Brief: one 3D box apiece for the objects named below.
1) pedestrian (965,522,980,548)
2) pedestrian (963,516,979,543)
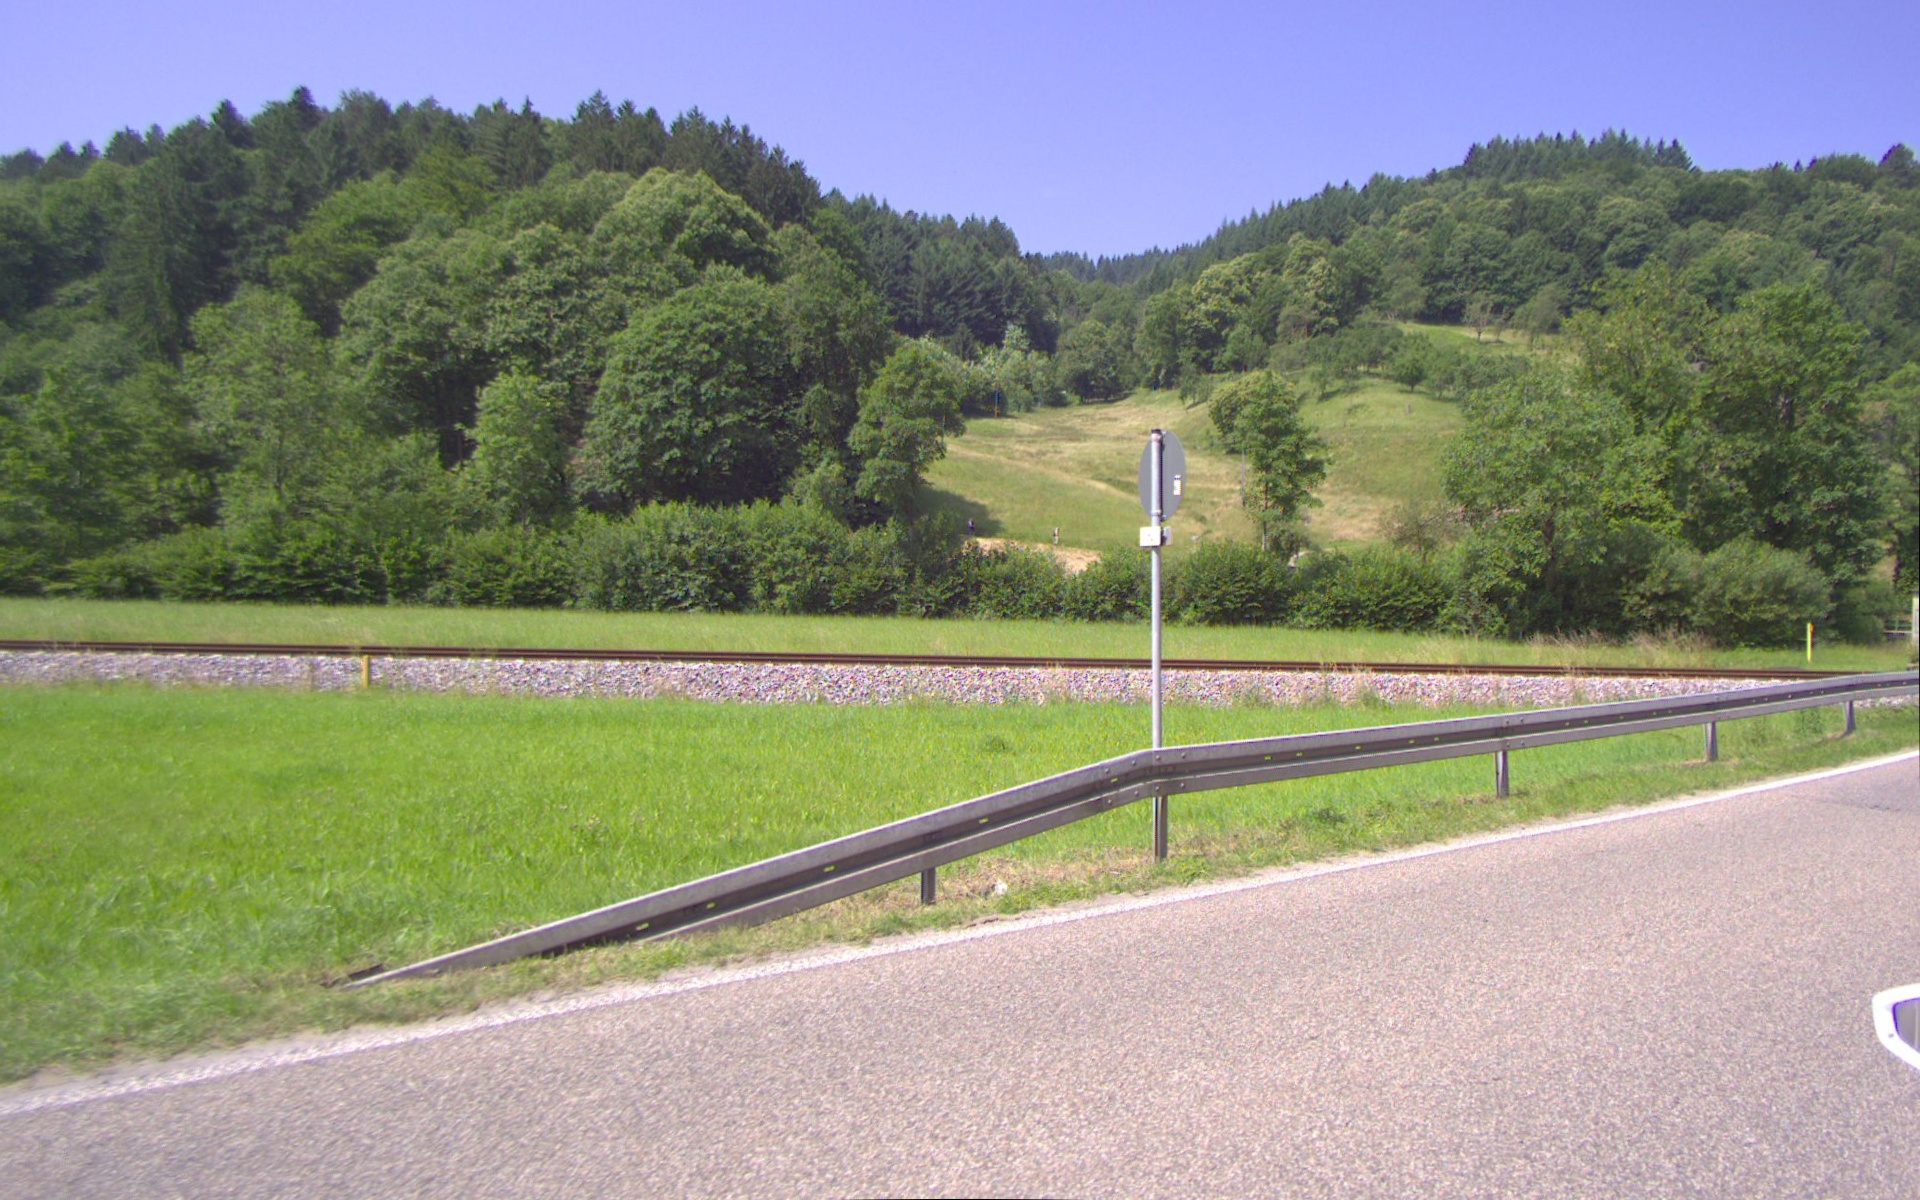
[{"bbox_3d":[1.197,-6.179,95.779,1.061,2.398,1.074,1,0,-33],"label":"pedestrian"},{"bbox_3d":[1.012,-6.627,94.217,1.061,2.398,1.074,1,0,-33],"label":"pedestrian"}]
